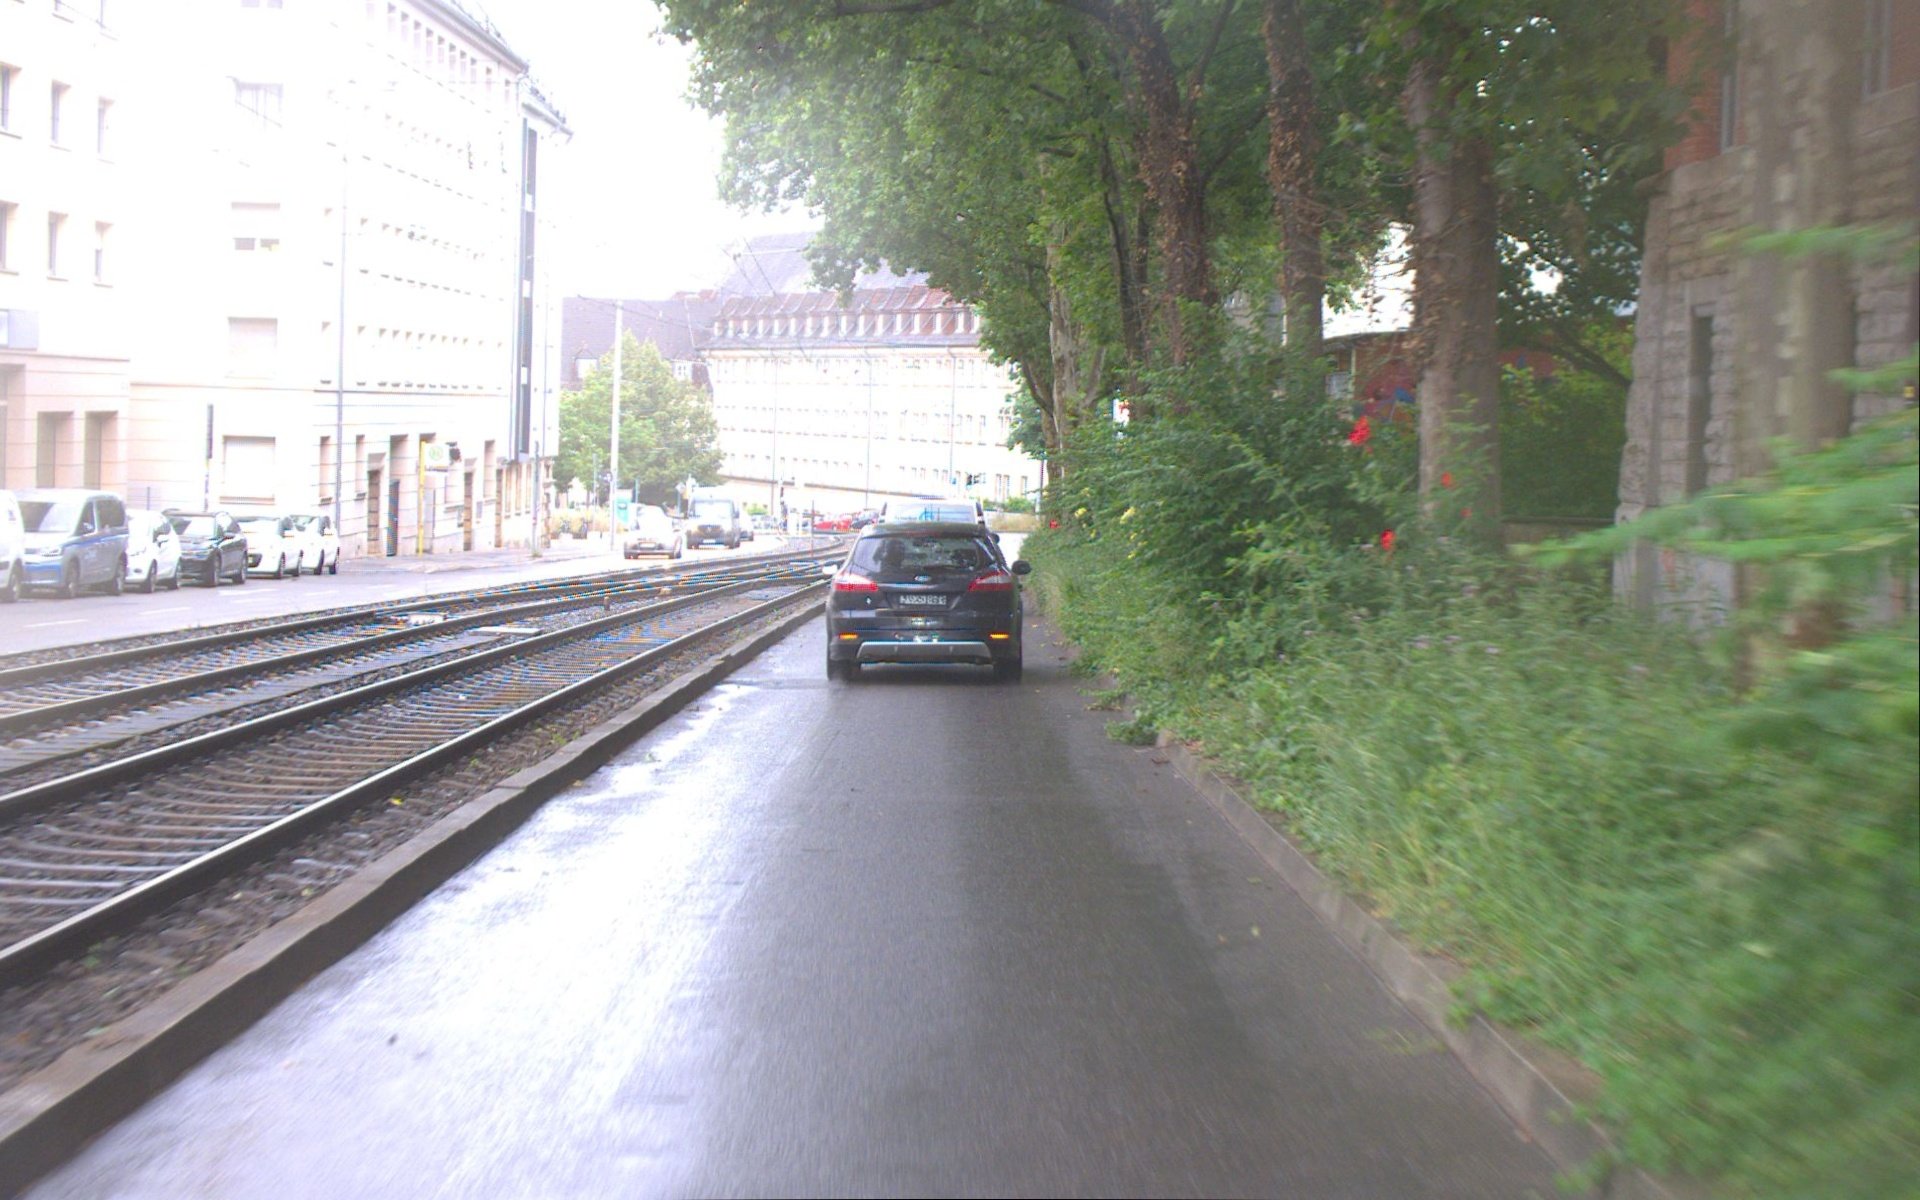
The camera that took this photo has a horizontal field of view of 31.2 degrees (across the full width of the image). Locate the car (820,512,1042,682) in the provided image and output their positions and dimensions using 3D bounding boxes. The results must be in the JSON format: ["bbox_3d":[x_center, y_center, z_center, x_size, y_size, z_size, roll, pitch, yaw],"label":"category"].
[{"bbox_3d":[-0.318,-0.082,32.886,1.933,1.448,4.318,2,1,-2],"label":"car"}]

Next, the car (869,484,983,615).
[{"bbox_3d":[-0.574,-0.839,55.595,1.740,2.007,3.904,1,1,-1],"label":"car"}]

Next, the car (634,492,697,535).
[{"bbox_3d":[-10.253,-3.030,120.036,1.712,1.457,4.281,1,2,1],"label":"car"}]

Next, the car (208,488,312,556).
[{"bbox_3d":[-15.424,-1.735,75.915,1.703,1.392,3.936,3,2,-4],"label":"car"}]

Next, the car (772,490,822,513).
[{"bbox_3d":[-11.193,-6.725,235.530,1.993,1.537,4.001,-1,2,-26],"label":"car"}]

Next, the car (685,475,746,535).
[{"bbox_3d":[-10.375,-3.999,146.074,1.993,2.443,5.998,1,1,1],"label":"car"}]

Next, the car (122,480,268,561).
[{"bbox_3d":[-15.226,-1.613,68.661,1.813,1.494,4.583,3,2,0],"label":"car"}]

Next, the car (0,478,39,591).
[{"bbox_3d":[-15.580,-1.014,52.268,1.867,1.711,4.460,1,2,1],"label":"car"}]

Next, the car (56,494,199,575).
[{"bbox_3d":[-15.354,-1.231,63.591,1.691,1.434,4.050,1,2,-1],"label":"car"}]

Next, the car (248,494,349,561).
[{"bbox_3d":[-15.488,-1.717,80.597,1.708,1.445,3.542,3,2,-2],"label":"car"}]

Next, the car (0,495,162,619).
[{"bbox_3d":[-15.354,-0.775,58.207,1.994,1.898,5.459,3,2,4],"label":"car"}]
